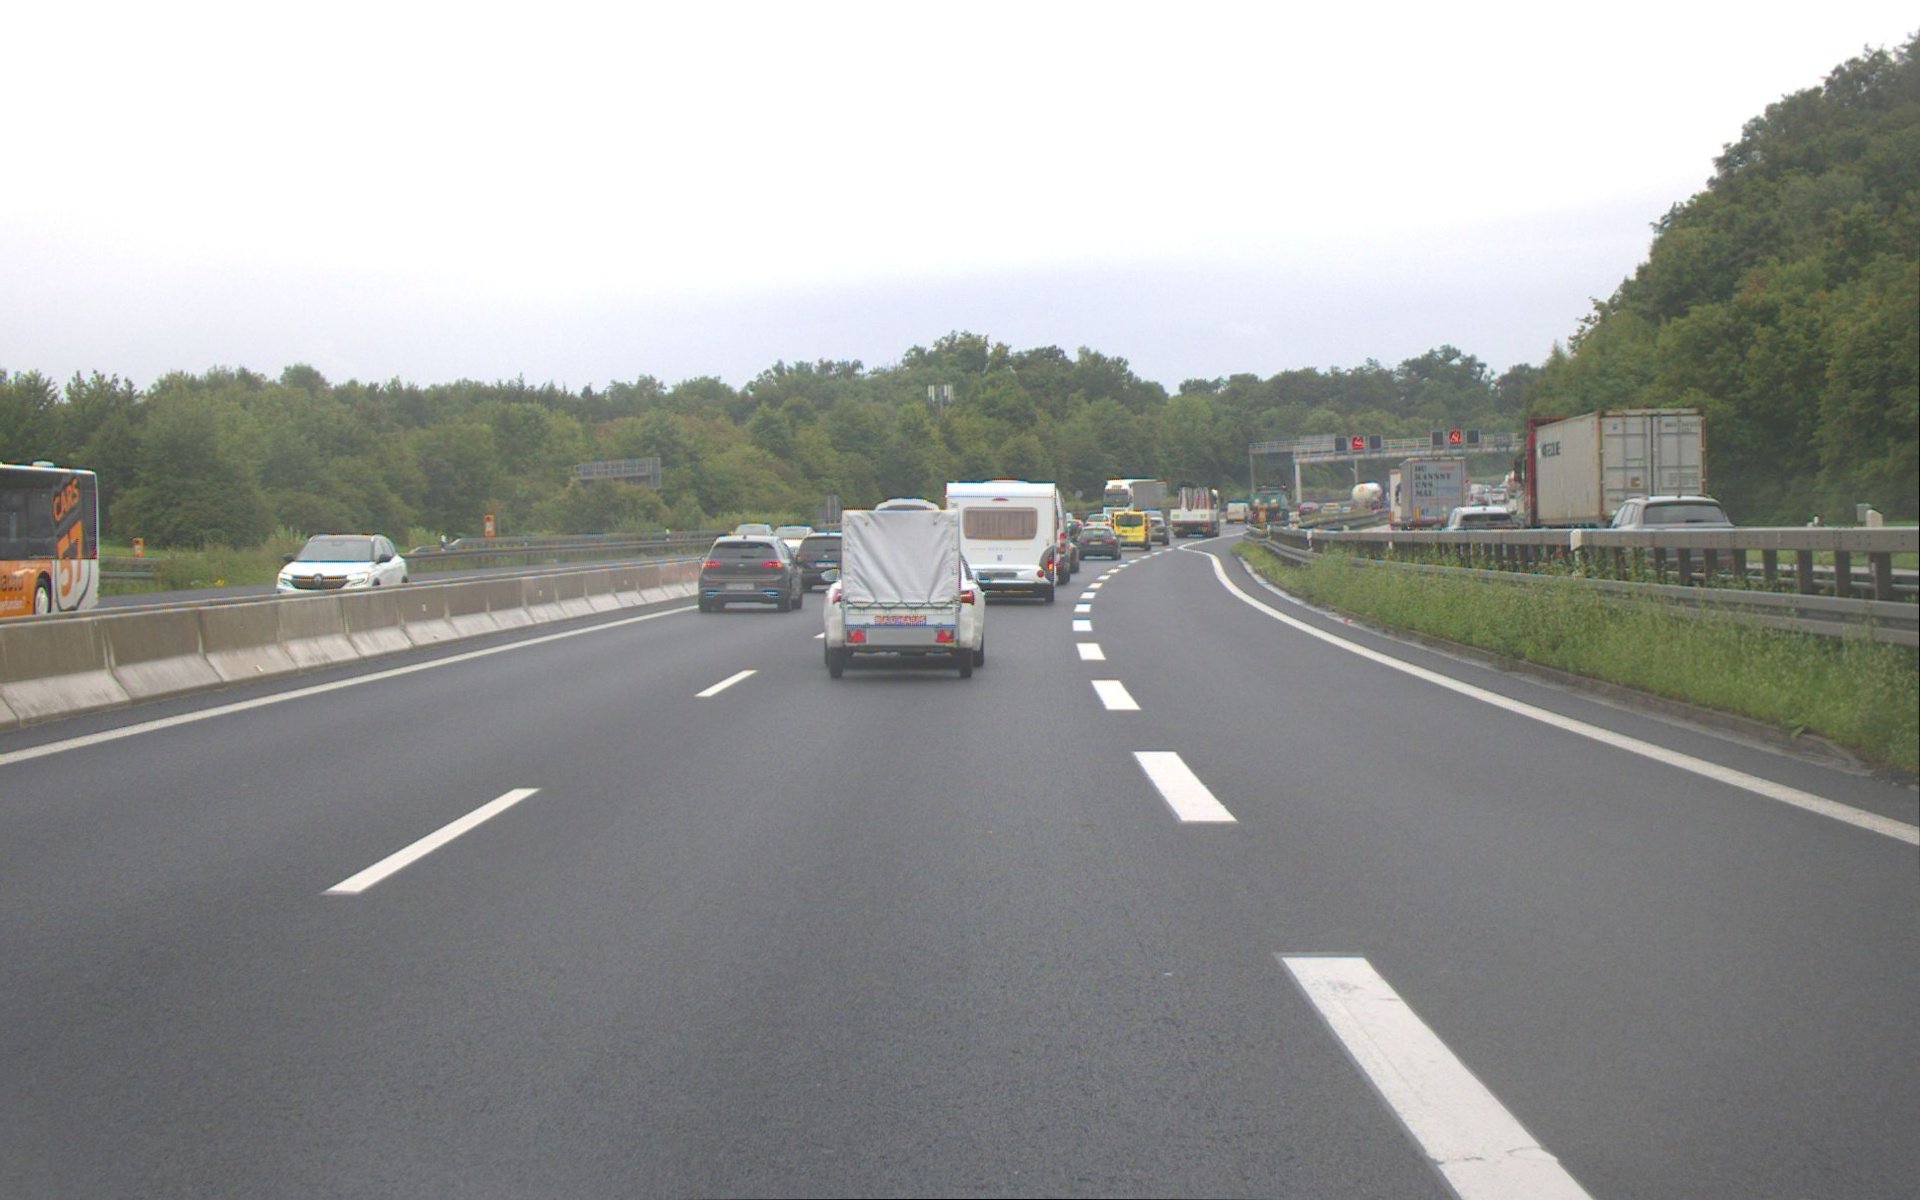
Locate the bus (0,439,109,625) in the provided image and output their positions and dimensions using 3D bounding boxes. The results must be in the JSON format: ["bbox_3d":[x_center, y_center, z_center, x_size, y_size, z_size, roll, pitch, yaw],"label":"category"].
[{"bbox_3d":[-16.557,-1.042,54.529,2.698,2.948,11.897,-1,1,2],"label":"bus"}]

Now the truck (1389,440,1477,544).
[{"bbox_3d":[22.154,-4.970,161.661,3.216,4.650,13.031,-1,1,4],"label":"truck"}]

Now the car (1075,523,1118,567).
[{"bbox_3d":[5.712,-2.310,144.302,1.676,1.806,4.000,-1,1,0],"label":"car"}]

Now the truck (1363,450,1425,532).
[{"bbox_3d":[26.283,-6.506,207.742,3.217,4.650,13.028,-1,1,9],"label":"truck"}]

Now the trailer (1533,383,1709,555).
[{"bbox_3d":[16.099,-3.067,84.589,2.604,3.881,12.489,-1,1,3],"label":"trailer"}]

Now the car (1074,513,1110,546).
[{"bbox_3d":[8.284,-4.402,215.328,1.994,2.007,3.999,-1,1,6],"label":"car"}]

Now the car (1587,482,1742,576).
[{"bbox_3d":[11.183,-1.121,54.828,1.667,1.378,4.126,-3,1,2],"label":"car"}]

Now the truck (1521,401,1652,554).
[{"bbox_3d":[16.492,-3.156,90.773,2.616,3.871,6.391,-1,1,3],"label":"truck"}]

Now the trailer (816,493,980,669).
[{"bbox_3d":[-0.636,-0.226,37.710,1.676,1.806,4.000,-1,1,0],"label":"trailer"}]

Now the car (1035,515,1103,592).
[{"bbox_3d":[2.977,-1.274,94.592,1.675,2.060,4.000,-1,1,-1],"label":"car"}]

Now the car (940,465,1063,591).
[{"bbox_3d":[0.912,-1.524,73.890,2.507,2.576,5.699,-1,1,1],"label":"car"}]

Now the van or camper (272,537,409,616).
[{"bbox_3d":[-11.800,-0.469,65.735,1.748,1.442,4.586,-1,1,0],"label":"van or camper"}]

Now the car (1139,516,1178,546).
[{"bbox_3d":[11.168,-3.867,193.246,2.038,1.677,3.999,-1,1,6],"label":"car"}]

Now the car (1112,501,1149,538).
[{"bbox_3d":[8.602,-4.066,173.228,1.676,1.806,3.999,-1,1,5],"label":"car"}]

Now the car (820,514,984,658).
[{"bbox_3d":[-0.641,-0.193,41.398,1.818,1.610,4.778,-1,1,1],"label":"car"}]

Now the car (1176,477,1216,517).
[{"bbox_3d":[15.572,-6.781,226.875,2.516,2.566,5.311,-1,1,5],"label":"car"}]

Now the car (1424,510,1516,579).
[{"bbox_3d":[12.427,-1.352,83.970,1.770,1.604,4.643,-1,1,3],"label":"car"}]

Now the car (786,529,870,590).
[{"bbox_3d":[-3.234,-0.993,84.812,1.765,1.451,4.000,-1,1,2],"label":"car"}]

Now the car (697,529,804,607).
[{"bbox_3d":[-4.010,-0.628,66.339,1.676,1.451,4.000,-1,1,2],"label":"car"}]
